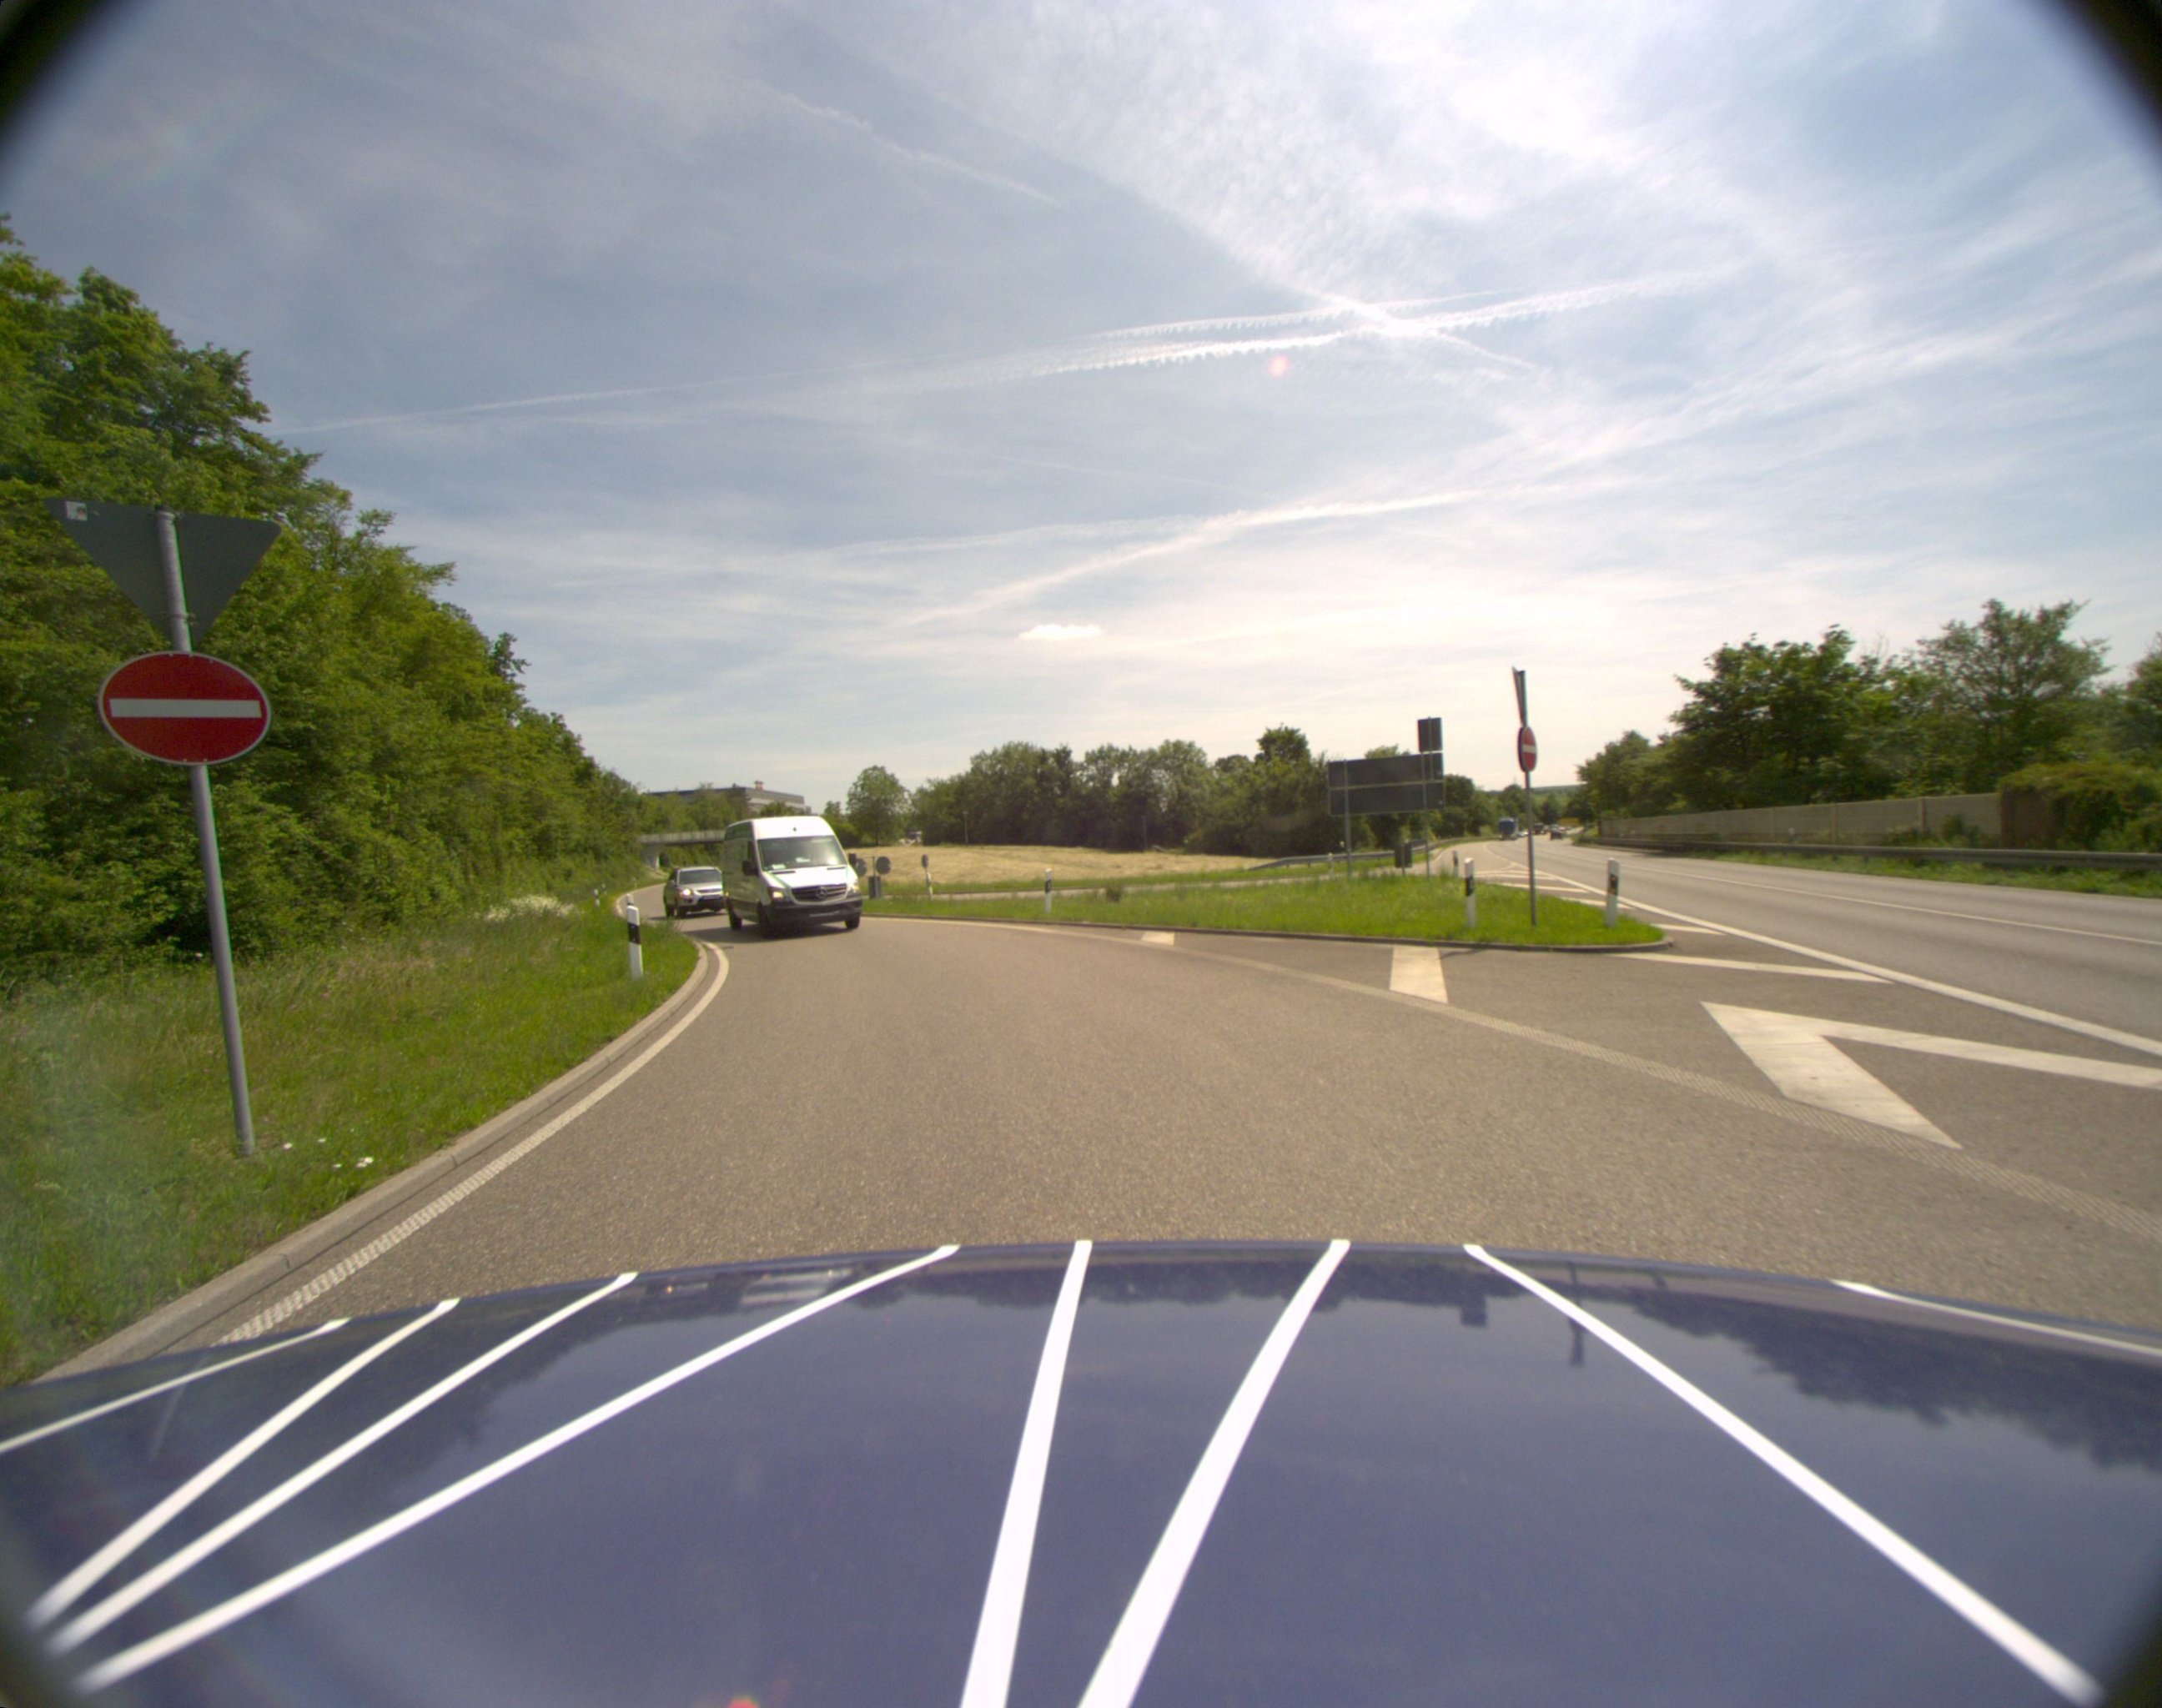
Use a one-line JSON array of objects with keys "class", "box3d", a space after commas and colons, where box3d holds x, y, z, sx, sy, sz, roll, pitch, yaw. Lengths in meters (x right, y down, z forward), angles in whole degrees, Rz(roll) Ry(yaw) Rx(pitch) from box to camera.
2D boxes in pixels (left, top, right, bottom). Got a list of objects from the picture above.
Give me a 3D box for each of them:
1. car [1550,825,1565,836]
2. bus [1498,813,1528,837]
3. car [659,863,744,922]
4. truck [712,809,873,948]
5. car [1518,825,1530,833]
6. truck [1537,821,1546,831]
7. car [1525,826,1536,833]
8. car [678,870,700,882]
[{"class": "car", "box3d": [77.750, -3.869, 123.885, 1.751, 1.530, 4.114, -3, 1, 36]}, {"class": "bus", "box3d": [77.860, -5.219, 136.909, 3.344, 4.046, 10.532, -1, 2, 37]}, {"class": "car", "box3d": [-13.114, 1.297, 26.159, 1.853, 1.699, 4.079, -6, 2, -36]}, {"class": "truck", "box3d": [-6.848, 0.506, 17.523, 2.003, 2.572, 5.873, -6, 2, -34]}, {"class": "car", "box3d": [99.052, -5.551, 169.860, 1.994, 1.632, 4.007, -1, 1, 35]}, {"class": "truck", "box3d": [125.734, -7.610, 207.570, 1.995, 2.584, 5.829, -2, 1, 32]}, {"class": "car", "box3d": [110.499, -6.140, 186.934, 1.994, 1.636, 4.007, -2, 1, 35]}, {"class": "car", "box3d": [-49.231, 2.774, 95.392, 1.962, 1.414, 3.931, -2, 0, -21]}]
